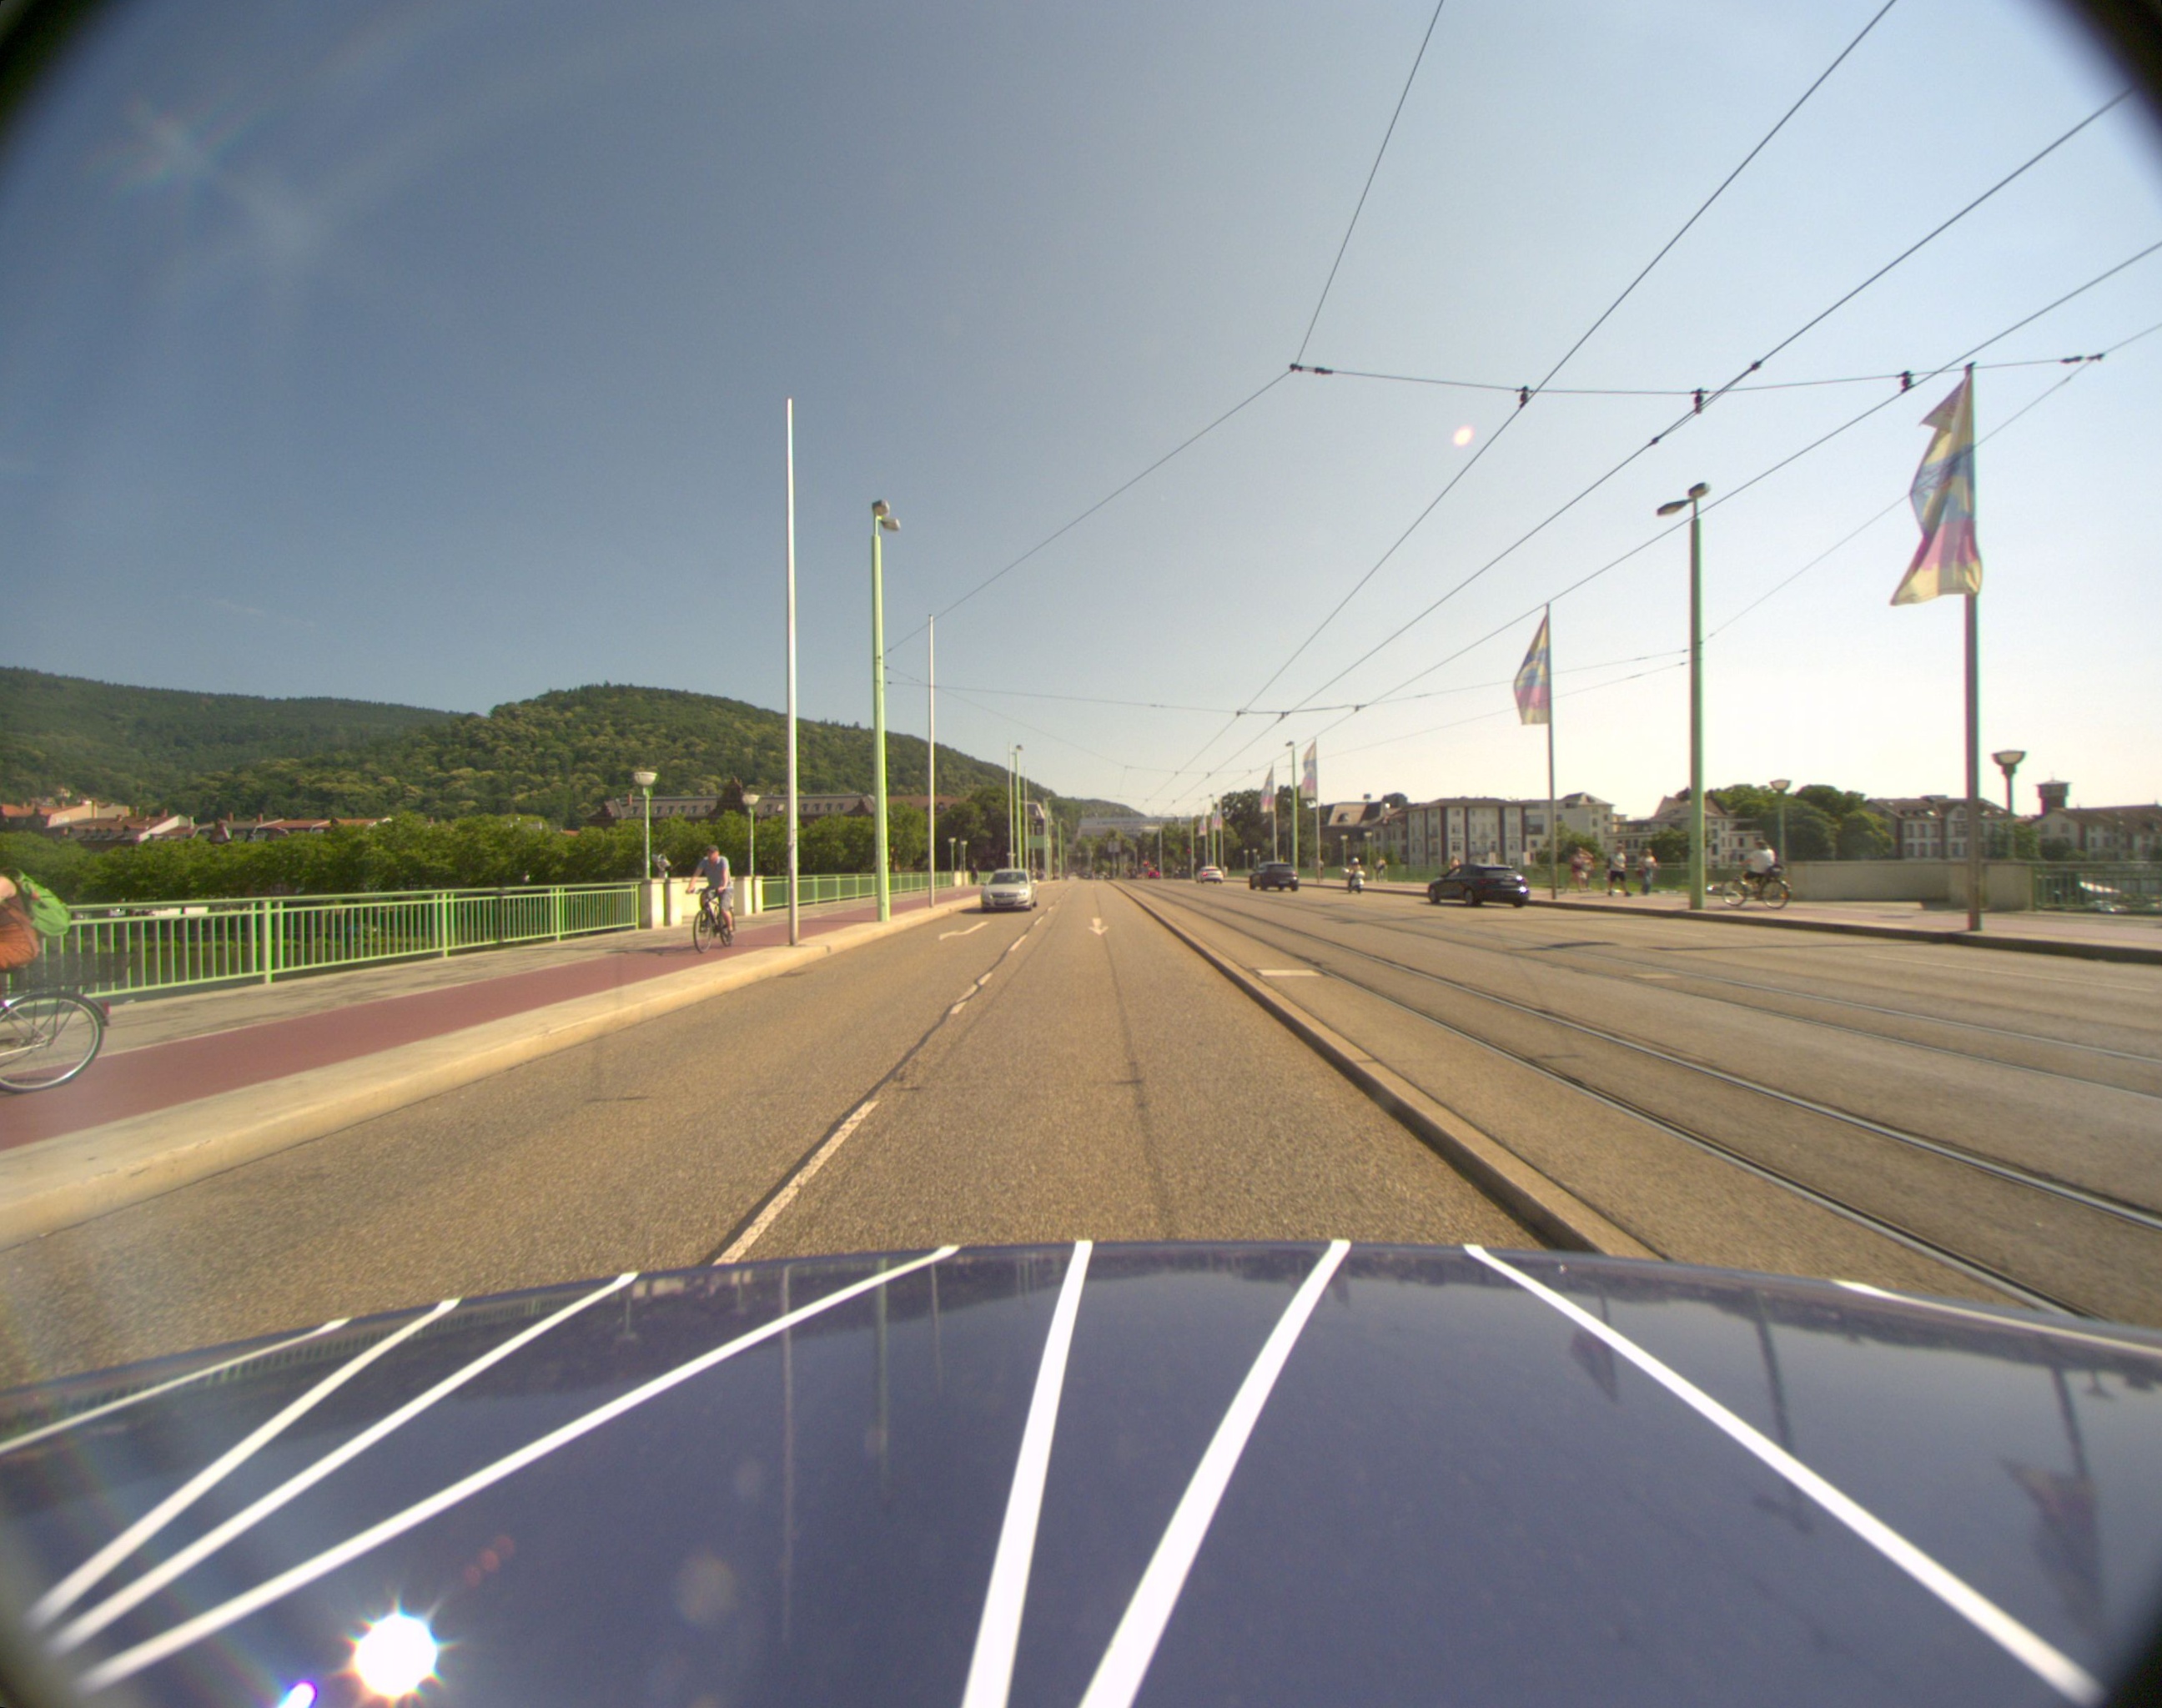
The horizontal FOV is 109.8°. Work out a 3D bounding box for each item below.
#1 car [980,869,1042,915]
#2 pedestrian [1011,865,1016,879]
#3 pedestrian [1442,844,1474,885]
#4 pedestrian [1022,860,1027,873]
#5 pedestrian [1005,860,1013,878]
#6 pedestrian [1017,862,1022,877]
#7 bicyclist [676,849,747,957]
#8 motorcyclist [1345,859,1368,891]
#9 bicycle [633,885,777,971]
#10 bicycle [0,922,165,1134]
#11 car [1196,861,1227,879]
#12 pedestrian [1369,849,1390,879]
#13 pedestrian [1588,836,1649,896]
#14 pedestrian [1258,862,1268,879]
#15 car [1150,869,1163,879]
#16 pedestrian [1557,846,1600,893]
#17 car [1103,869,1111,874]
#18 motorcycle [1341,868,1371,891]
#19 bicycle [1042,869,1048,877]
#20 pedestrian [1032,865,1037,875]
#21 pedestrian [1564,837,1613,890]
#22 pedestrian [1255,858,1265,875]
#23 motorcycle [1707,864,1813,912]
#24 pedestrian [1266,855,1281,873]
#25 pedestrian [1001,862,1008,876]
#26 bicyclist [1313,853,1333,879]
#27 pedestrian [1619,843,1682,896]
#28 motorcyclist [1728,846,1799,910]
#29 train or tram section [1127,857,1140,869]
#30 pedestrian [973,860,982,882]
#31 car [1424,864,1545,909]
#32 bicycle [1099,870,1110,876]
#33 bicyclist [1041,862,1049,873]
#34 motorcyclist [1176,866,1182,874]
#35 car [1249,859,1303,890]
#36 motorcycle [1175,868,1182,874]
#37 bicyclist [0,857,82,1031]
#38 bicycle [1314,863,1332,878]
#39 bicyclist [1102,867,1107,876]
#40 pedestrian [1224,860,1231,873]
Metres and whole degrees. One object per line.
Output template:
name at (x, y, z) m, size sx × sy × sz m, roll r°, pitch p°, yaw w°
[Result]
car at (-2.425, 1.306, 27.263) m, size 1.802 × 1.492 × 4.498 m, roll -1°, pitch -1°, yaw 0°
pedestrian at (-7.851, 2.077, 88.335) m, size 0.524 × 1.639 × 0.699 m, roll -1°, pitch 0°, yaw -5°
pedestrian at (18.810, 0.514, 37.928) m, size 0.971 × 2.001 × 1.101 m, roll -1°, pitch -1°, yaw -4°
pedestrian at (-7.464, 1.652, 100.770) m, size 0.656 × 1.640 × 0.868 m, roll -1°, pitch 0°, yaw -5°
pedestrian at (-7.899, 1.643, 83.174) m, size 0.876 × 2.002 × 1.059 m, roll -1°, pitch 0°, yaw -5°
pedestrian at (-7.169, 1.829, 88.345) m, size 0.587 × 1.783 × 0.632 m, roll -1°, pitch 0°, yaw -4°
bicyclist at (-6.223, 0.795, 12.857) m, size 0.675 × 1.733 × 1.150 m, roll -1°, pitch 0°, yaw -3°
motorcyclist at (13.765, 1.035, 38.014) m, size 0.829 × 1.564 × 0.832 m, roll -1°, pitch 0°, yaw 0°
bicycle at (-6.220, 1.155, 12.943) m, size 0.794 × 1.089 × 3.743 m, roll 0°, pitch 0°, yaw -3°
bicycle at (-6.781, 1.075, 4.318) m, size 0.697 × 1.186 × 2.079 m, roll 0°, pitch 0°, yaw -3°
car at (11.175, 1.360, 65.432) m, size 1.998 × 1.401 × 4.548 m, roll -1°, pitch -1°, yaw 1°
pedestrian at (20.154, 0.666, 51.284) m, size 0.901 × 2.001 × 1.042 m, roll -1°, pitch -1°, yaw -2°
pedestrian at (18.312, 0.411, 25.940) m, size 1.100 × 2.001 × 1.295 m, roll -1°, pitch -1°, yaw -2°
pedestrian at (20.513, 1.862, 85.518) m, size 0.740 × 1.838 × 1.121 m, roll -4°, pitch -1°, yaw -2°
car at (12.933, 3.383, 130.184) m, size 1.998 × 1.505 × 4.191 m, roll -2°, pitch -1°, yaw 3°
pedestrian at (18.630, 0.584, 28.475) m, size 0.756 × 1.712 × 1.175 m, roll -2°, pitch 0°, yaw -2°
car at (6.869, 4.721, 201.789) m, size 1.638 × 1.300 × 3.913 m, roll 0°, pitch -1°, yaw -5°
motorcycle at (13.769, 1.280, 38.150) m, size 0.702 × 1.103 × 2.179 m, roll -1°, pitch -1°, yaw 0°
bicycle at (-4.848, 2.547, 102.384) m, size 0.643 × 1.076 × 2.498 m, roll 0°, pitch -1°, yaw 4°
pedestrian at (-7.271, 2.521, 118.990) m, size 0.651 × 1.553 × 0.692 m, roll 0°, pitch -1°, yaw 2°
pedestrian at (19.697, 0.380, 29.502) m, size 1.100 × 2.001 × 1.129 m, roll -1°, pitch -1°, yaw -2°
pedestrian at (20.077, 1.414, 85.245) m, size 0.740 × 1.773 × 0.957 m, roll -4°, pitch -1°, yaw -2°
motorcycle at (16.988, 0.823, 19.096) m, size 0.702 × 1.103 × 2.179 m, roll -1°, pitch -1°, yaw 0°
pedestrian at (19.558, 1.039, 77.257) m, size 1.100 × 1.747 × 1.295 m, roll -1°, pitch -1°, yaw -2°
pedestrian at (-8.691, 1.678, 85.994) m, size 0.651 × 1.621 × 0.692 m, roll -2°, pitch -1°, yaw 2°
bicyclist at (18.367, 0.911, 57.739) m, size 1.100 × 1.949 × 1.129 m, roll -1°, pitch -1°, yaw -2°
pedestrian at (19.345, 0.534, 25.844) m, size 1.100 × 1.719 × 1.295 m, roll -1°, pitch -1°, yaw -2°
motorcyclist at (17.052, 0.595, 19.004) m, size 0.802 × 1.540 × 1.069 m, roll -1°, pitch 0°, yaw 0°
train or tram section at (14.580, 2.534, 210.379) m, size 2.768 × 3.382 × 5.885 m, roll 0°, pitch -1°, yaw -5°
pedestrian at (-8.390, 1.383, 61.456) m, size 0.656 × 1.733 × 0.978 m, roll -1°, pitch -2°, yaw -5°
car at (13.556, 1.051, 25.853) m, size 1.762 × 1.354 × 4.384 m, roll -1°, pitch -1°, yaw 0°
bicycle at (4.325, 3.486, 140.171) m, size 1.917 × 1.107 × 0.762 m, roll -1°, pitch 0°, yaw 10°
bicyclist at (-4.888, 1.822, 102.425) m, size 0.912 × 1.385 × 1.233 m, roll 0°, pitch -1°, yaw 3°
motorcyclist at (16.847, 2.713, 131.036) m, size 0.847 × 1.393 × 0.898 m, roll -2°, pitch -1°, yaw -2°
car at (10.656, 1.114, 41.857) m, size 1.998 × 1.590 × 4.339 m, roll -1°, pitch -1°, yaw 2°
motorcycle at (16.855, 2.904, 131.227) m, size 0.847 × 1.019 × 1.952 m, roll -2°, pitch -1°, yaw -1°
bicyclist at (-6.781, 0.541, 4.407) m, size 0.668 × 1.038 × 0.980 m, roll -1°, pitch 0°, yaw -3°
bicycle at (18.347, 1.262, 57.602) m, size 0.590 × 1.090 × 2.112 m, roll -3°, pitch 0°, yaw -2°
bicyclist at (4.314, 3.230, 140.197) m, size 0.770 × 1.599 × 0.881 m, roll -1°, pitch 0°, yaw 13°
pedestrian at (20.862, 1.807, 108.177) m, size 0.740 × 1.842 × 0.975 m, roll -4°, pitch -1°, yaw -2°
